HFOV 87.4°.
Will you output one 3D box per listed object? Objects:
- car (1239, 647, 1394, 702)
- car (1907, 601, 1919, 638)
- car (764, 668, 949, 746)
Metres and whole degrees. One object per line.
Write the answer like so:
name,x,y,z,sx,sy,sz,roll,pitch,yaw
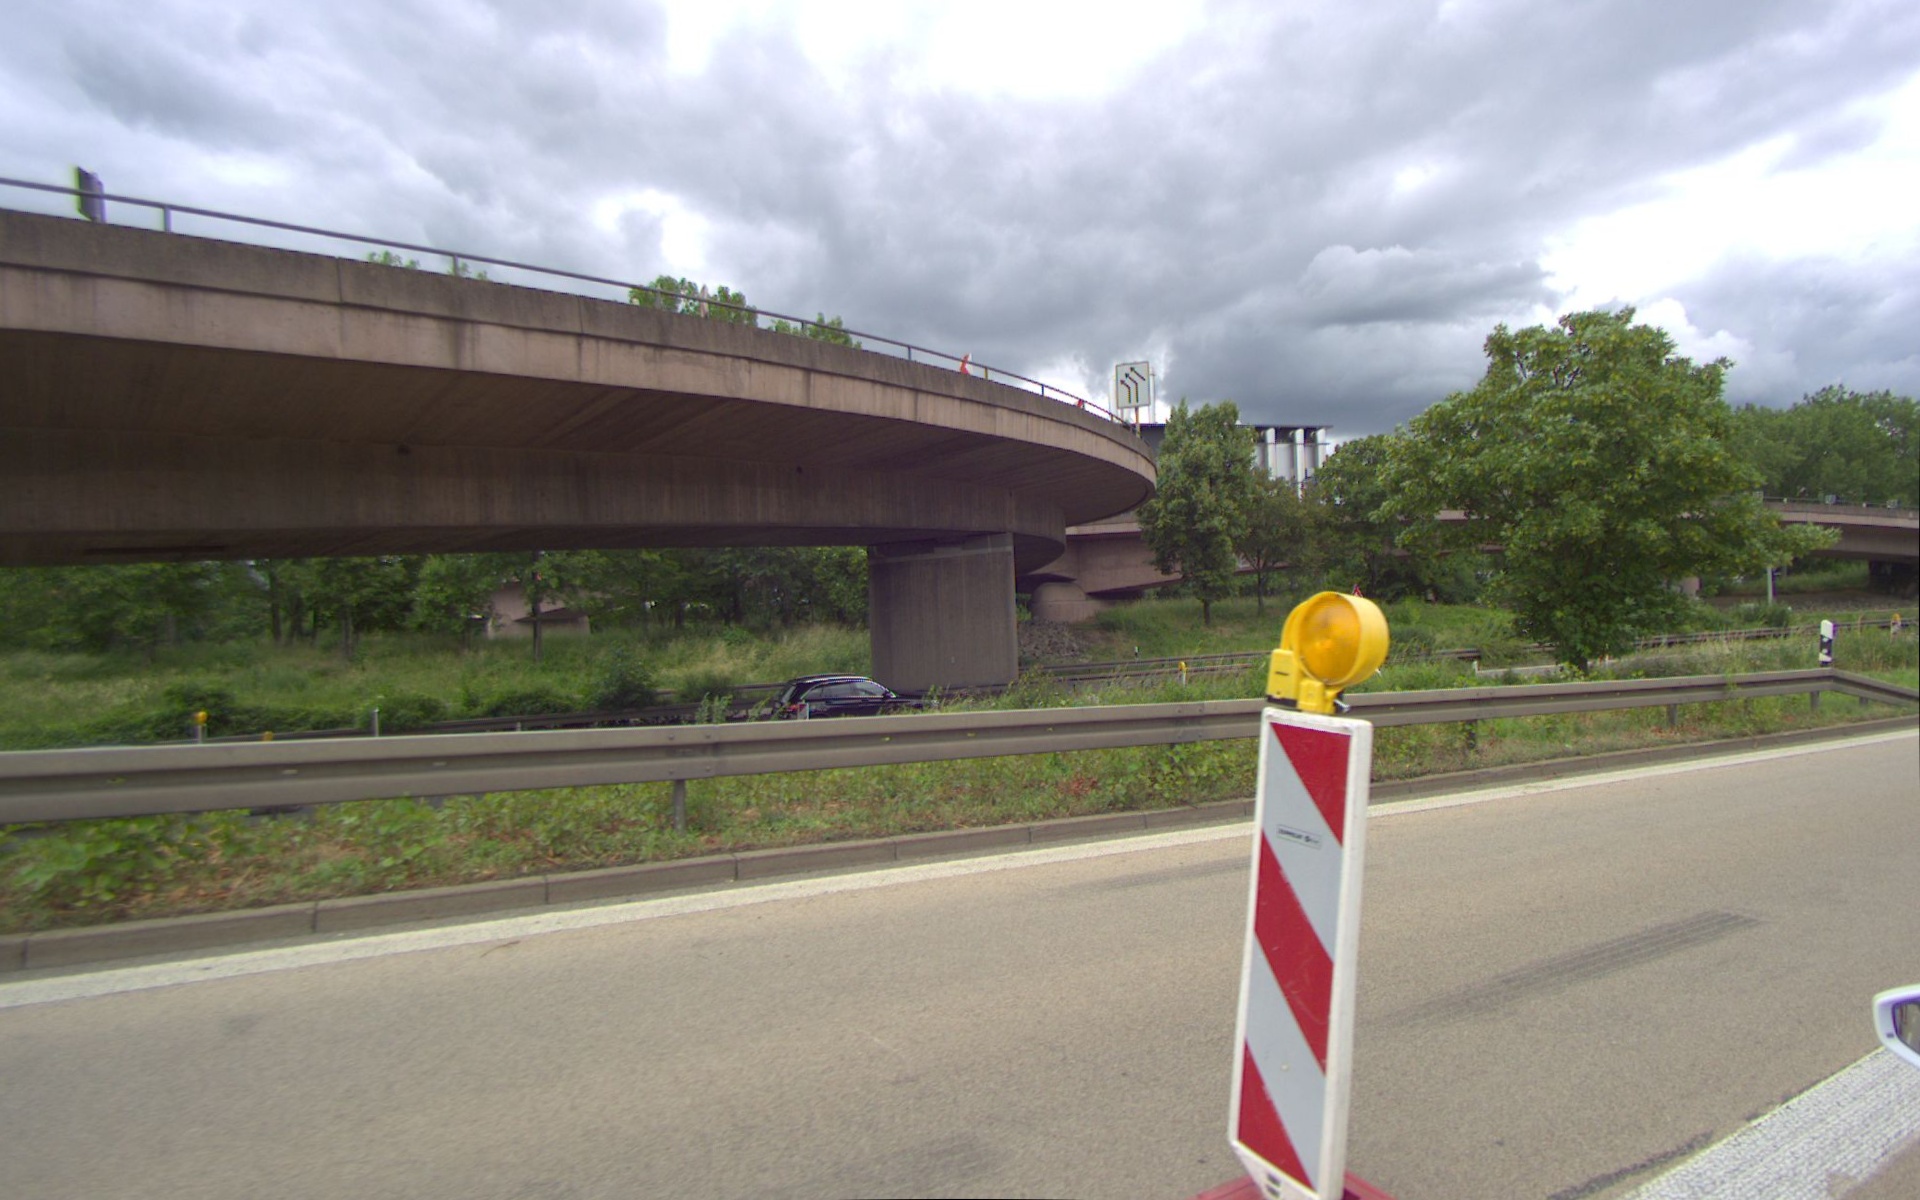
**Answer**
car,11.923,2.450,33.592,4.729,1.475,1.990,-1,0,-21
car,48.083,0.887,48.404,4.039,1.735,1.990,-1,0,-21
car,-2.766,2.780,26.726,4.509,1.636,2.034,-1,0,-21
